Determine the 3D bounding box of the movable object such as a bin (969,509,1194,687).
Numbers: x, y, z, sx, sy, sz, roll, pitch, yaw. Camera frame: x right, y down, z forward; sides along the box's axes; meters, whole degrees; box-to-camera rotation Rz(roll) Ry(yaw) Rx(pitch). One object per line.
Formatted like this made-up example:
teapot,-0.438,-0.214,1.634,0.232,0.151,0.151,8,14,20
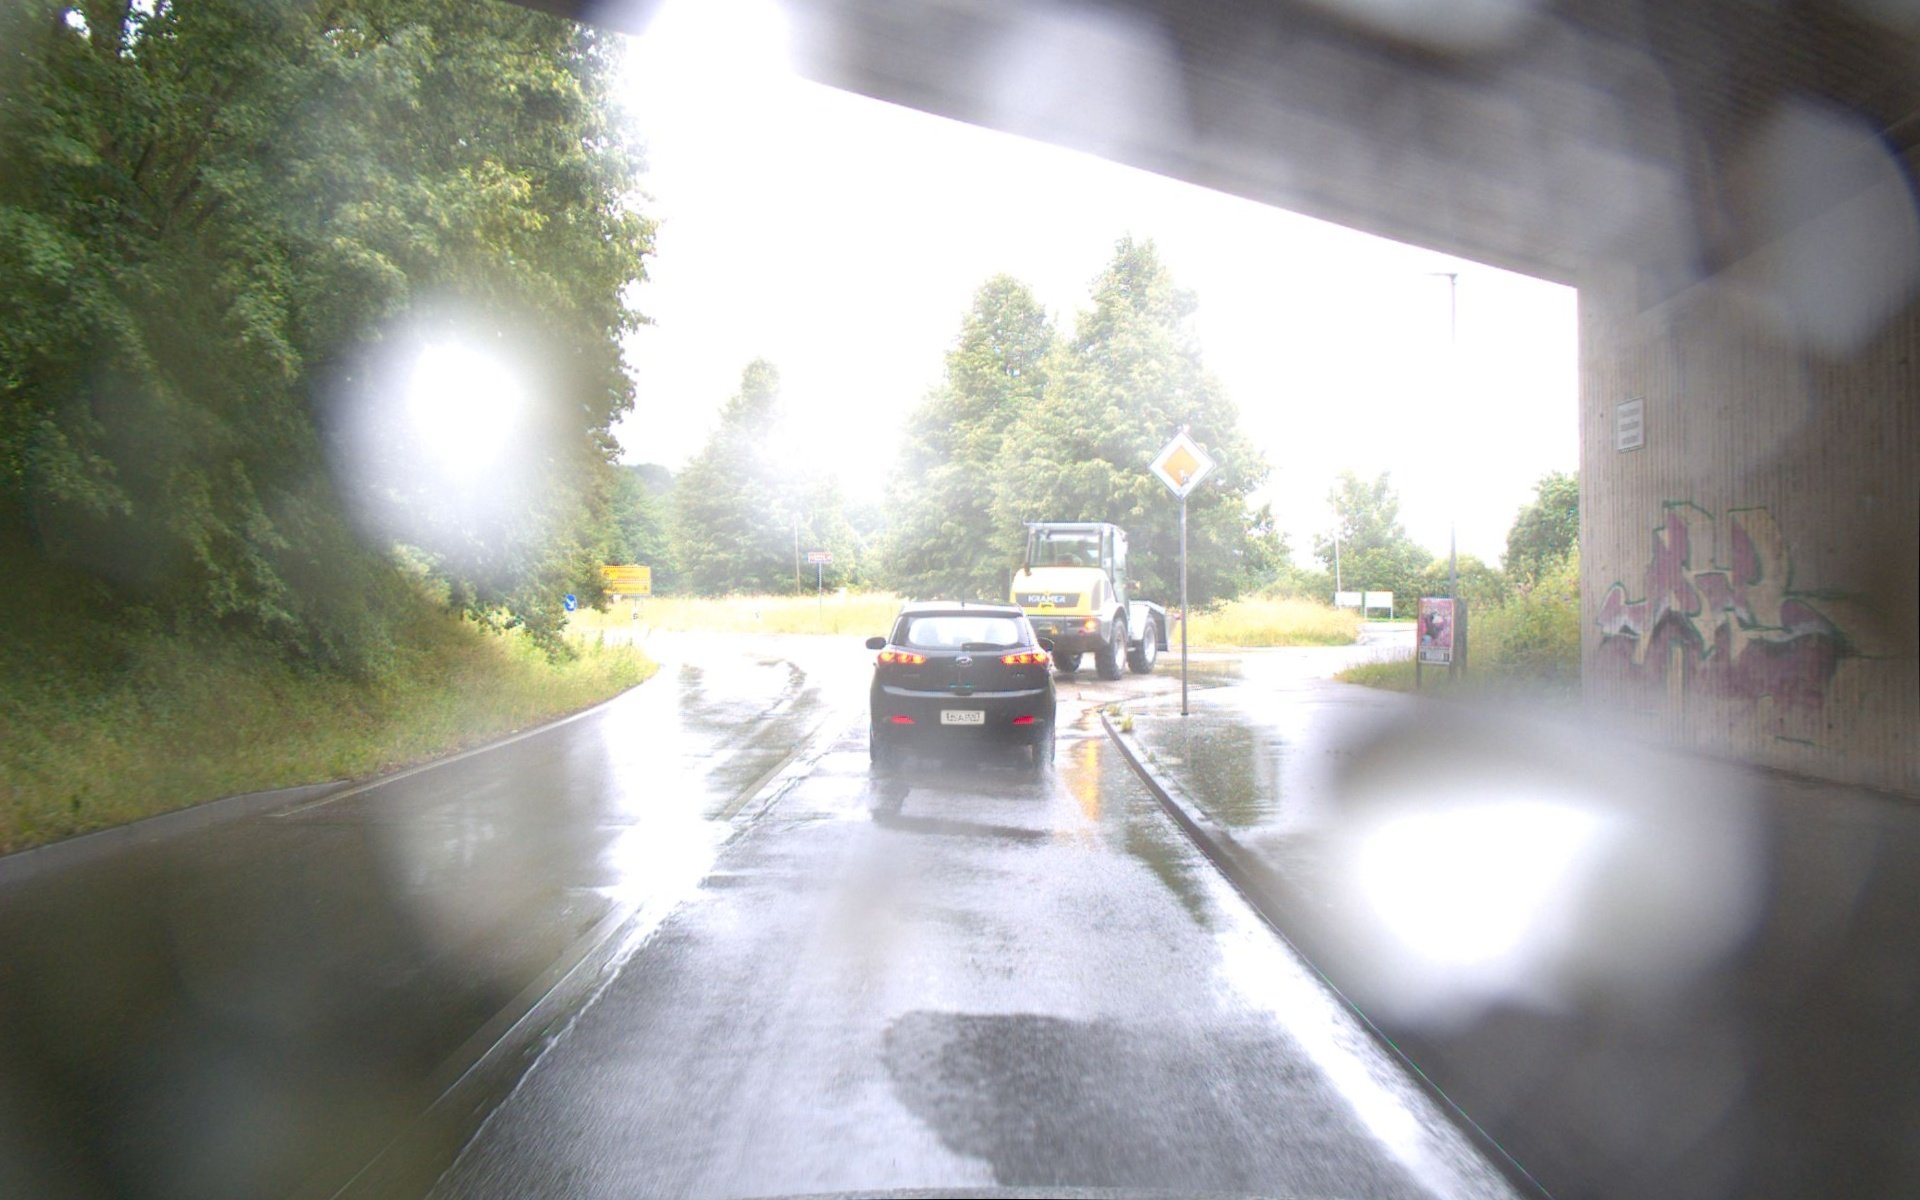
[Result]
movable object such as a bin,2.314,-0.025,28.841,2.199,2.716,6.628,1,0,20

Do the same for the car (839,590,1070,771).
car,-0.188,0.694,16.201,1.954,1.513,3.996,1,0,-4
